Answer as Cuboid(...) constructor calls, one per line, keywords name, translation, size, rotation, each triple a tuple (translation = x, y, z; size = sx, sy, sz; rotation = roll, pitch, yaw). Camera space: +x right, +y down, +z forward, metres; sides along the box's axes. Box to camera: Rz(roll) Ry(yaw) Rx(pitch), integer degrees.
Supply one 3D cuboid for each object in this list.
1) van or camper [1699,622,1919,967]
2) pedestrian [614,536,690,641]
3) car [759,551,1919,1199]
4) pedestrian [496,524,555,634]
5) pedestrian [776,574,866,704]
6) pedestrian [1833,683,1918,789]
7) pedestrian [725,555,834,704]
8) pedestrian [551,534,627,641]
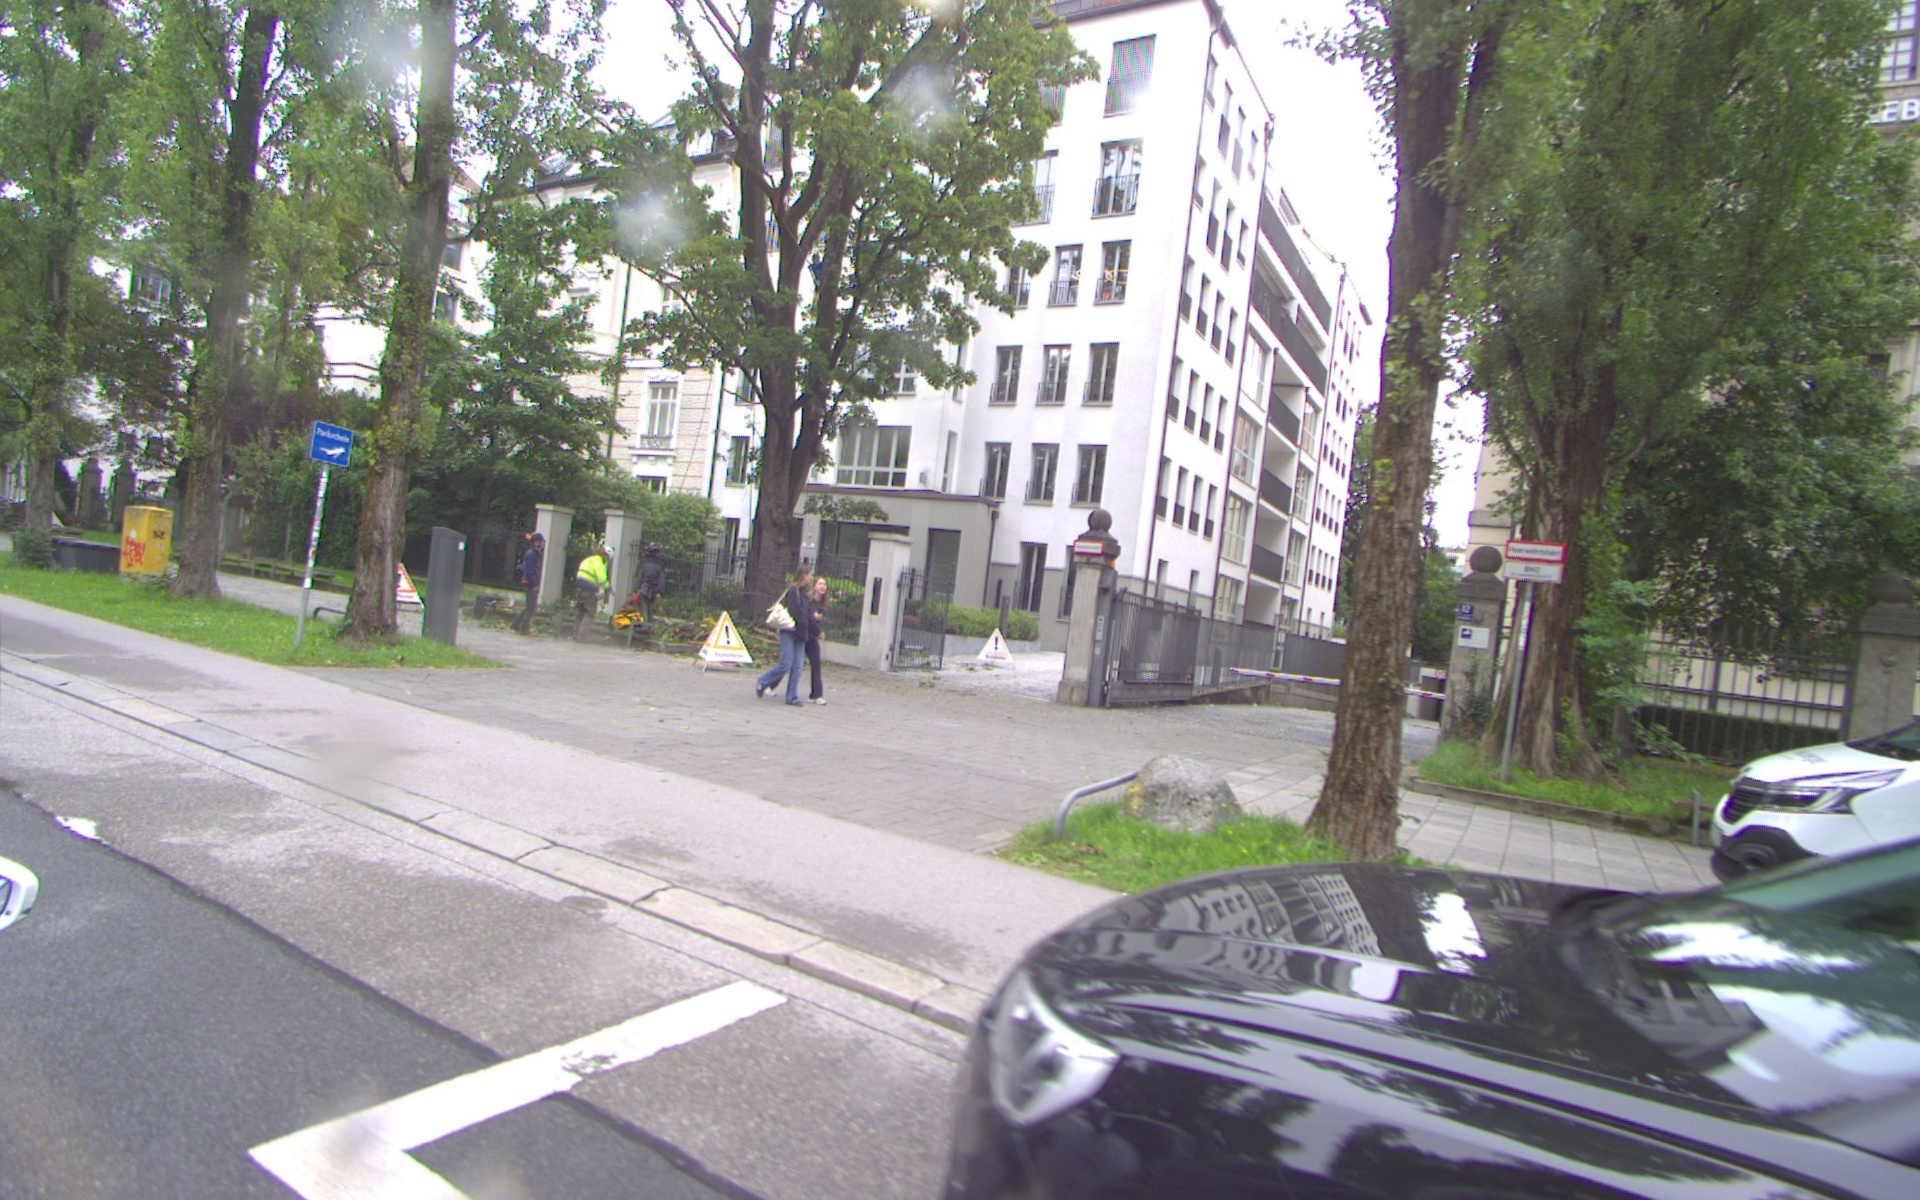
Cuboid(name="van or camper", translation=(7.825, 1.478, 5.895), size=(5.279, 1.956, 2.080), rotation=(7, -1, 32))
Cuboid(name="pedestrian", translation=(-5.778, -0.209, 18.919), size=(0.814, 1.823, 0.904), rotation=(9, 2, 10))
Cuboid(name="car", translation=(2.034, 0.994, 1.283), size=(4.390, 1.560, 1.882), rotation=(7, 0, 32))
Cuboid(name="pedestrian", translation=(-7.811, -0.372, 18.092), size=(0.626, 1.886, 0.488), rotation=(7, 1, 14))
Cuboid(name="pedestrian", translation=(-1.837, 0.508, 13.264), size=(0.853, 1.598, 0.568), rotation=(7, 1, 31))
Cuboid(name="pedestrian", translation=(17.036, 2.505, 18.745), size=(0.881, 1.790, 0.795), rotation=(7, 1, 34))
Cuboid(name="pedestrian", translation=(-2.269, 0.372, 12.676), size=(0.853, 1.739, 0.854), rotation=(7, 2, 31))
Cuboid(name="pedestrian", translation=(-6.669, -0.211, 18.093), size=(0.805, 1.804, 0.802), rotation=(7, 1, 14))
